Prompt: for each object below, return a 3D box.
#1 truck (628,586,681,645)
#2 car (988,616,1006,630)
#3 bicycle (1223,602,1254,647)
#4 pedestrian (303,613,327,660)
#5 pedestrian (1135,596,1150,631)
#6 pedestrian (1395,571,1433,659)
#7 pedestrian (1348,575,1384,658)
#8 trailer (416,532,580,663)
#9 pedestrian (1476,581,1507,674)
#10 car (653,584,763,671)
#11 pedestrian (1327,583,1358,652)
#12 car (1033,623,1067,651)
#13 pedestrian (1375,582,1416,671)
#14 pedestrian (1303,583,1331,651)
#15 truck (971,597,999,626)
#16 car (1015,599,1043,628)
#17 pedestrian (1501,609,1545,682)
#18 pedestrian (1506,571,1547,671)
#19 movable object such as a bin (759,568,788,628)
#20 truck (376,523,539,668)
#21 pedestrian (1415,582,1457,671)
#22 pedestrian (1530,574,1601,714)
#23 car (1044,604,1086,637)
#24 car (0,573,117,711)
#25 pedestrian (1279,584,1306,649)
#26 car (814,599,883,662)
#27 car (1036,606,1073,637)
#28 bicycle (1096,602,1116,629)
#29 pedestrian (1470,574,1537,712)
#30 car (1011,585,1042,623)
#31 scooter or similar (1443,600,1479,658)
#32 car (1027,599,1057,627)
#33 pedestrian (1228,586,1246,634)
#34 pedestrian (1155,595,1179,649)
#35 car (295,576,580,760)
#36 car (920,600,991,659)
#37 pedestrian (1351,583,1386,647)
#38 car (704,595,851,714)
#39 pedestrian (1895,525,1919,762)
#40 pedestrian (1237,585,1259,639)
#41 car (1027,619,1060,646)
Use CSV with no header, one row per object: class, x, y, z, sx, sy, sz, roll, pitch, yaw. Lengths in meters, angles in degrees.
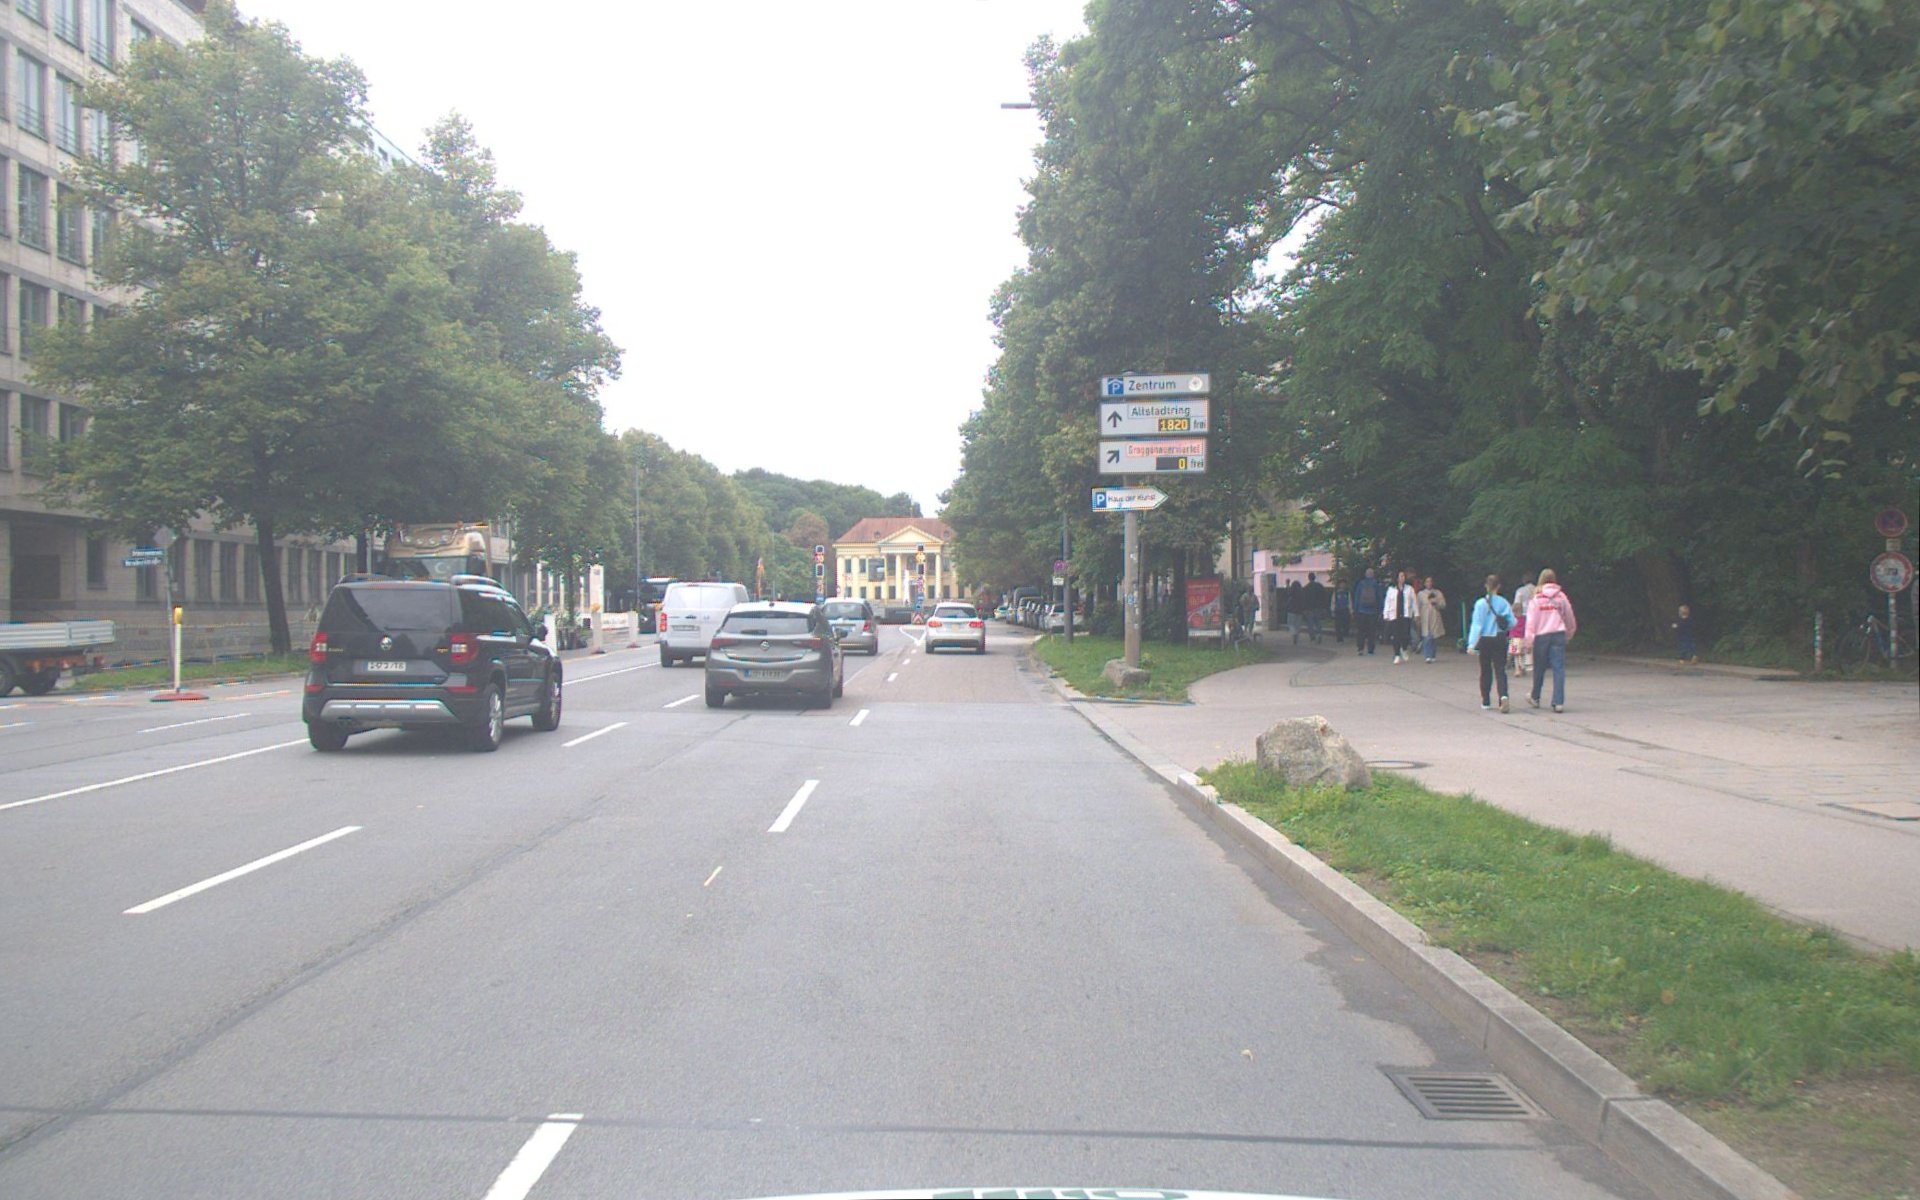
truck,-18.482,0.929,100.429,2.788,3.416,8.746,1,-1,-9
car,3.694,2.347,166.716,1.689,1.347,4.027,-1,-1,0
bicycle,6.711,0.585,39.897,0.376,1.039,2.079,1,-1,0
pedestrian,-24.597,1.379,63.091,0.566,1.762,0.764,1,-1,0
pedestrian,10.296,0.764,93.264,0.748,1.944,0.771,1,-1,0
pedestrian,9.726,0.323,35.461,0.576,1.854,0.850,1,-1,0
pedestrian,8.745,0.357,35.626,0.738,1.767,0.850,0,-1,15
trailer,-14.870,-0.001,54.337,2.892,3.806,11.759,1,-1,-4
pedestrian,9.194,0.477,28.618,0.474,1.593,0.573,0,-1,15
car,-5.823,0.649,38.745,1.860,1.880,4.954,-1,-1,-1
pedestrian,9.984,0.454,43.149,0.738,1.767,0.850,0,-1,15
car,5.064,2.070,93.695,1.689,1.490,4.775,-1,-1,0
pedestrian,8.311,0.498,31.578,0.738,1.672,0.651,0,-1,15
pedestrian,9.492,0.453,43.969,0.595,1.794,0.797,1,-1,3
truck,3.043,1.468,203.932,3.257,3.426,8.661,1,-1,0
car,4.693,0.927,112.735,1.689,1.900,4.027,-1,-1,0
pedestrian,9.069,0.729,26.660,0.618,1.157,0.573,0,-1,15
pedestrian,9.709,0.358,28.352,0.618,1.696,0.573,0,-1,15
movable object such as a bin,-20.928,-0.152,185.818,2.644,6.625,5.175,1,-1,0
truck,-14.370,-0.088,47.960,2.859,3.841,7.658,1,-1,-4
pedestrian,9.073,0.506,31.539,0.738,1.672,0.691,0,-1,15
pedestrian,7.428,0.531,20.310,0.738,1.672,0.850,0,-1,15
car,5.156,1.009,81.812,1.790,1.577,4.751,-1,-1,0
car,-19.685,0.832,31.990,5.569,2.581,2.154,-1,-1,-5
pedestrian,8.868,0.448,44.074,0.595,1.710,0.754,1,-1,3
car,-3.131,0.850,47.124,1.743,1.683,3.999,1,-1,-1
car,4.967,1.140,87.014,1.689,1.577,4.585,-1,-1,0
bicycle,7.042,0.750,79.892,0.616,1.252,2.617,1,-1,-2
pedestrian,6.723,0.525,20.493,0.738,1.672,0.850,0,-1,15
car,4.809,0.338,120.037,1.953,2.689,4.876,1,-1,-2
scooter or similar,10.703,0.623,35.361,0.409,1.220,1.219,1,-1,0
car,5.137,0.847,104.442,1.689,1.694,4.589,-1,-1,0
pedestrian,9.852,0.349,58.792,0.568,1.705,0.553,1,-1,3
pedestrian,7.639,0.815,61.091,0.763,1.944,0.771,1,-1,0
car,-5.289,0.658,17.315,1.687,1.665,4.203,-1,-1,-1
car,-0.168,0.872,49.452,1.745,1.673,3.995,1,-1,-5
pedestrian,10.735,0.385,43.510,0.669,1.666,0.661,1,-1,-12
car,-2.585,0.749,24.218,1.675,1.579,4.000,1,-1,0
pedestrian,8.086,0.353,13.540,0.596,1.905,0.693,0,-1,16
pedestrian,9.750,0.406,56.021,0.617,1.805,0.782,1,-1,3
car,4.985,1.935,99.160,1.785,1.490,4.027,-1,-1,0
